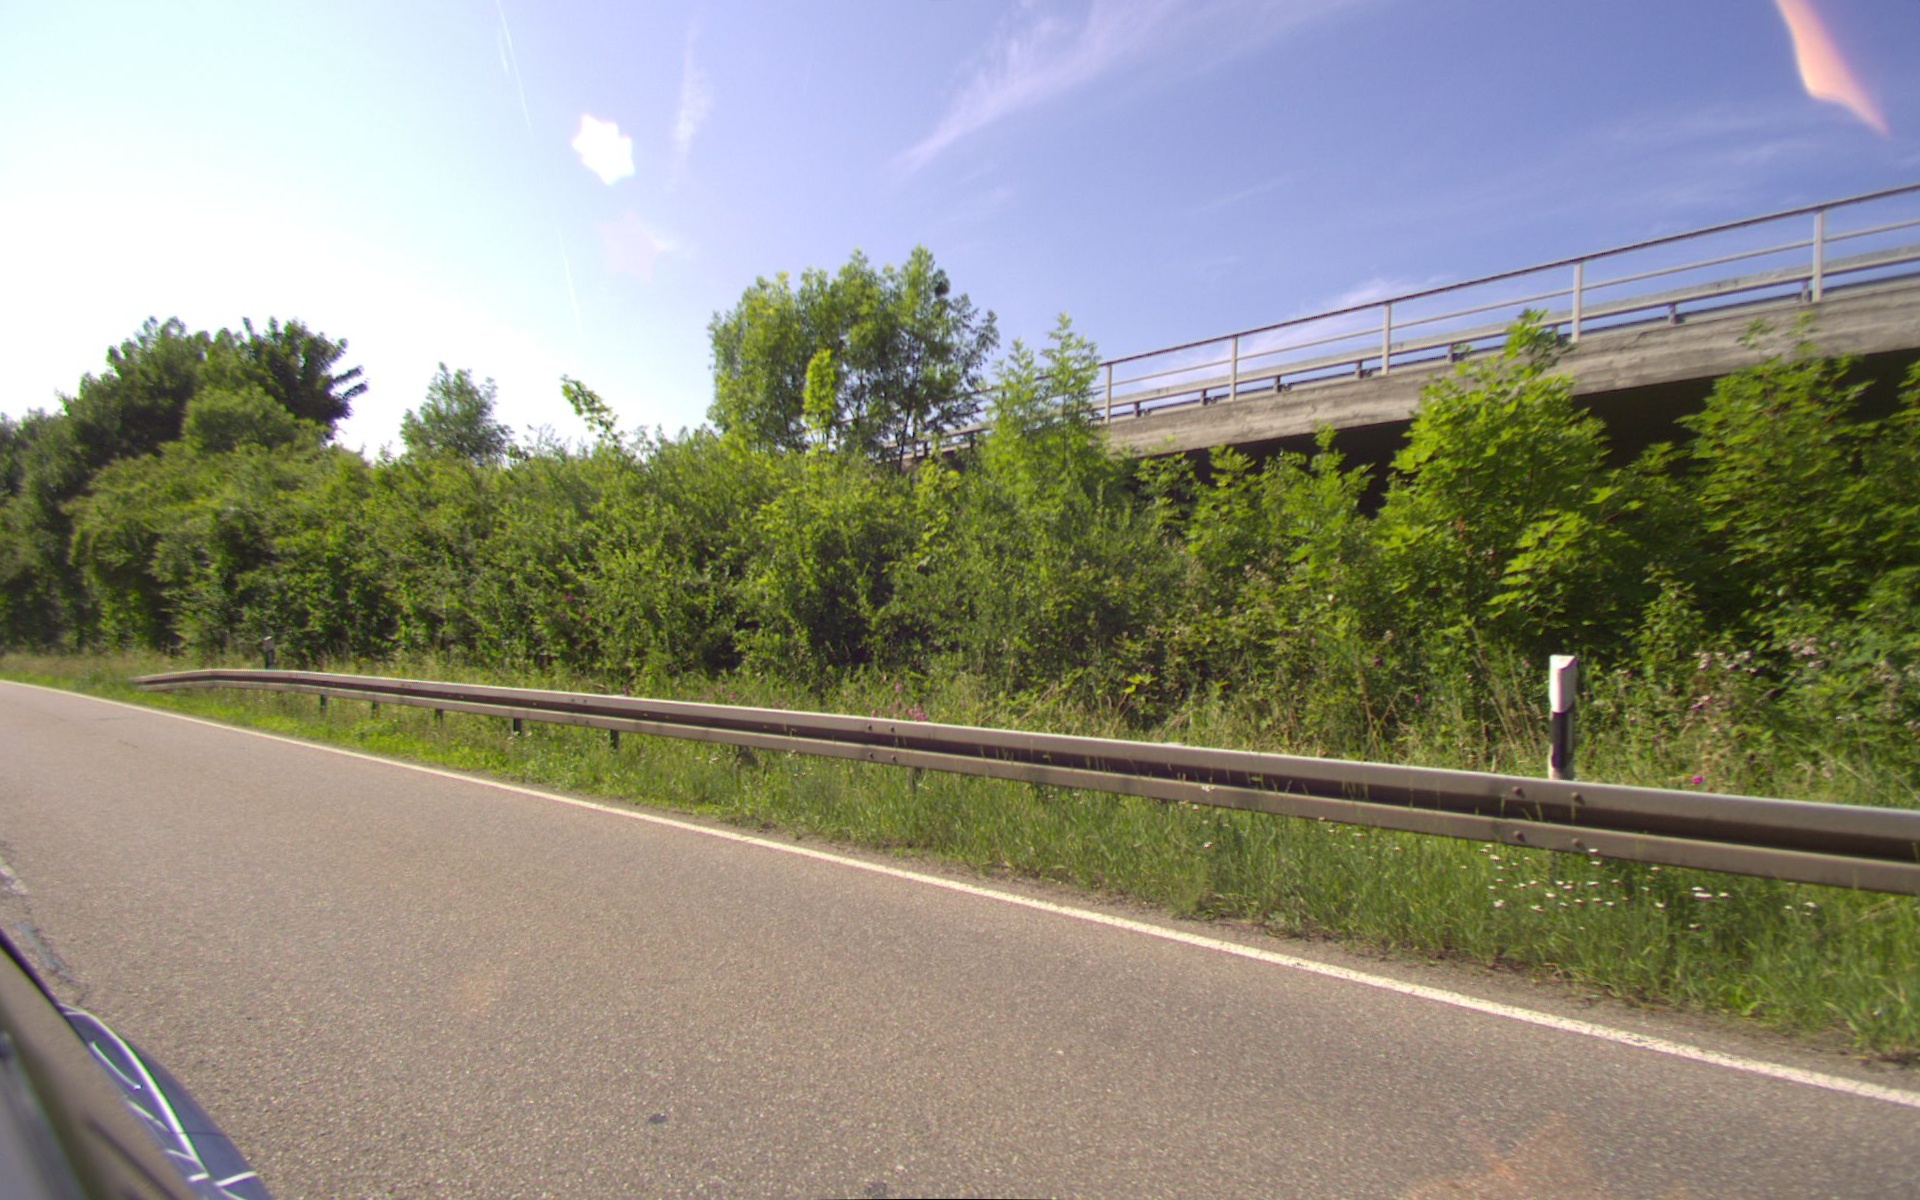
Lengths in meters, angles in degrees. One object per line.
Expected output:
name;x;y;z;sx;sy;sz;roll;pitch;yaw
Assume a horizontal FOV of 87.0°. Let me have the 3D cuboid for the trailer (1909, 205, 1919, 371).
trailer;24.503;-6.542;16.554;12.936;2.900;2.370;-2;-1;42
